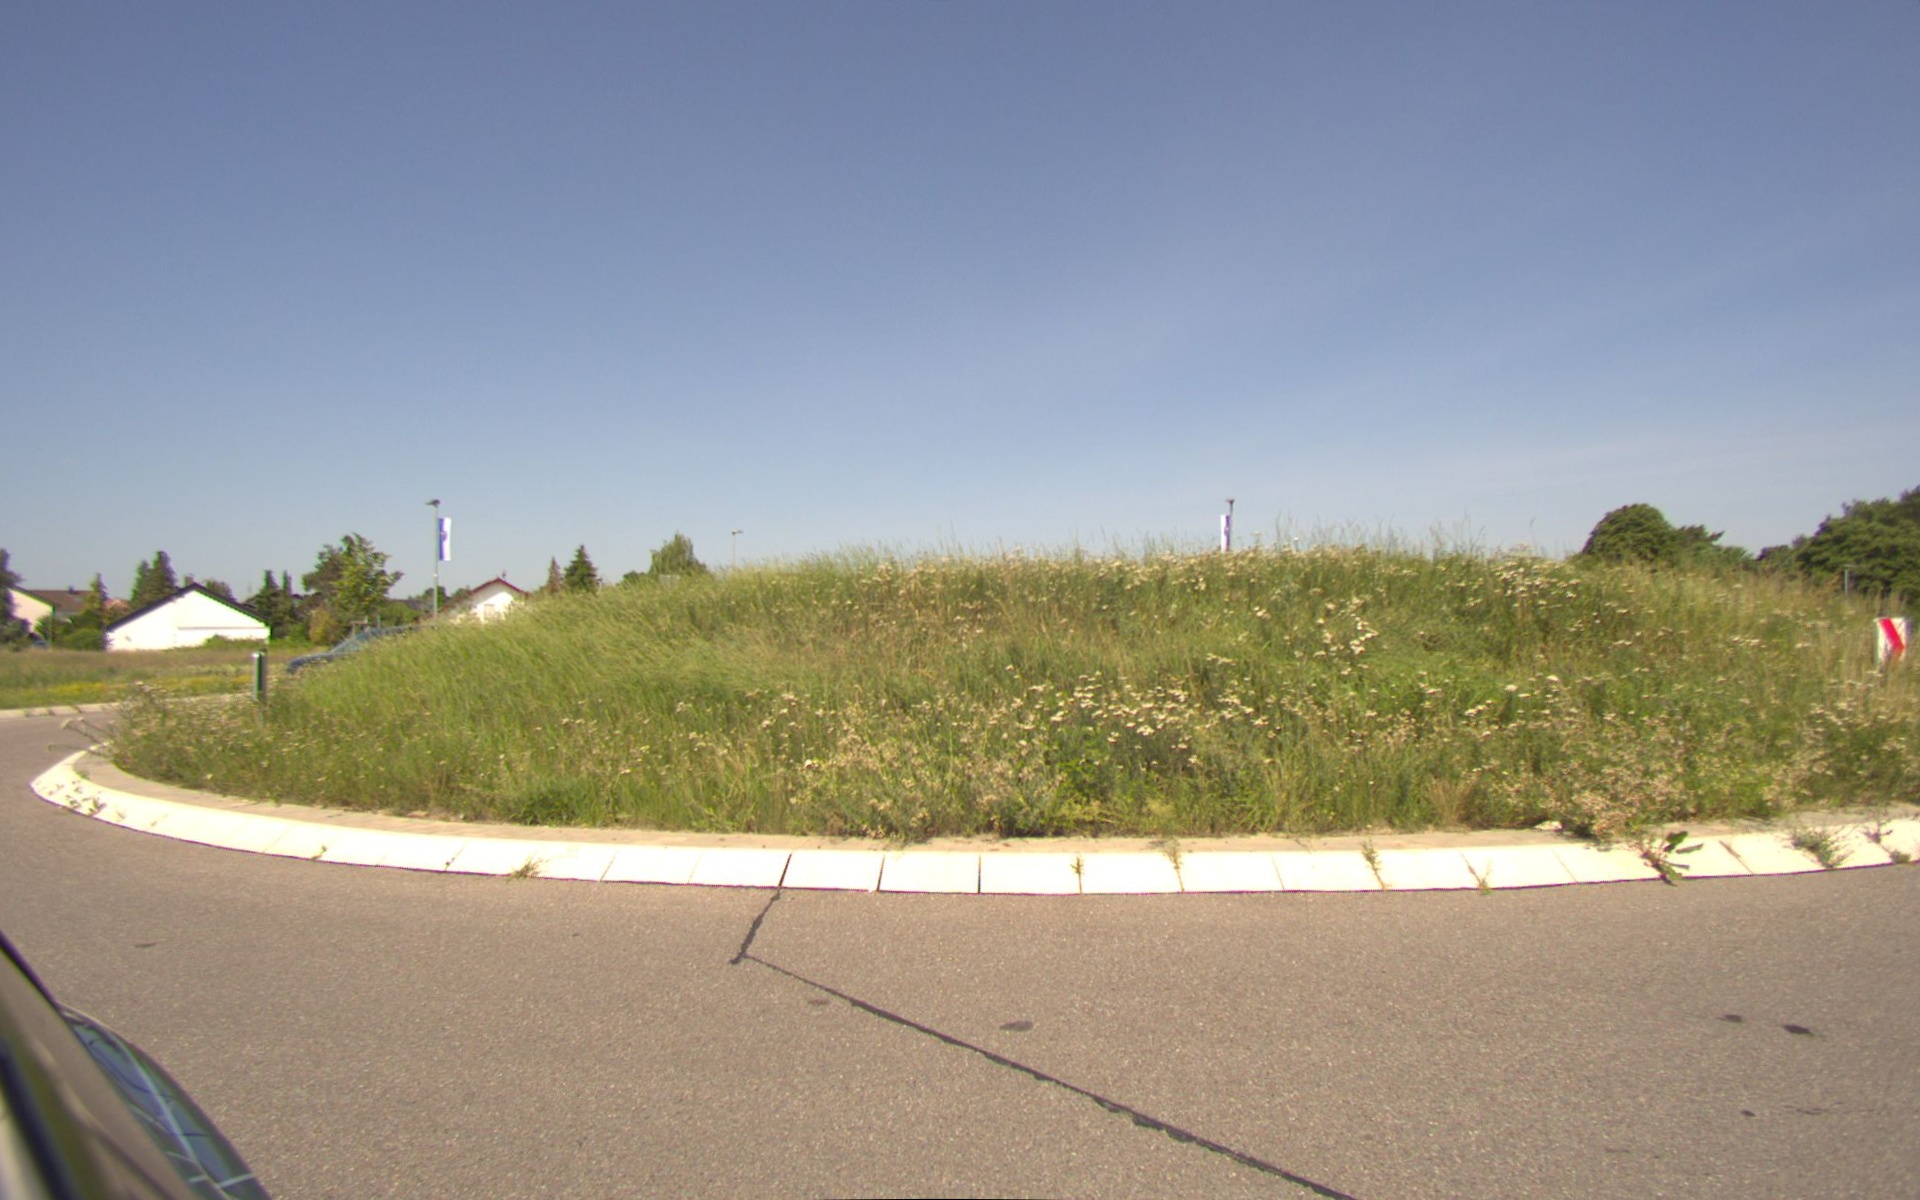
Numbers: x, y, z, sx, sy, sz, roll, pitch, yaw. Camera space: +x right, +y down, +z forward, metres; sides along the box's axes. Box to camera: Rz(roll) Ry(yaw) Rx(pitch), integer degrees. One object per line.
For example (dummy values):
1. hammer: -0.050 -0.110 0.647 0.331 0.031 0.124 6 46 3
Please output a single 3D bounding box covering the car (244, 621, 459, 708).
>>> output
1. car: -13.359 1.364 22.536 1.763 1.654 4.124 -2 -1 12
